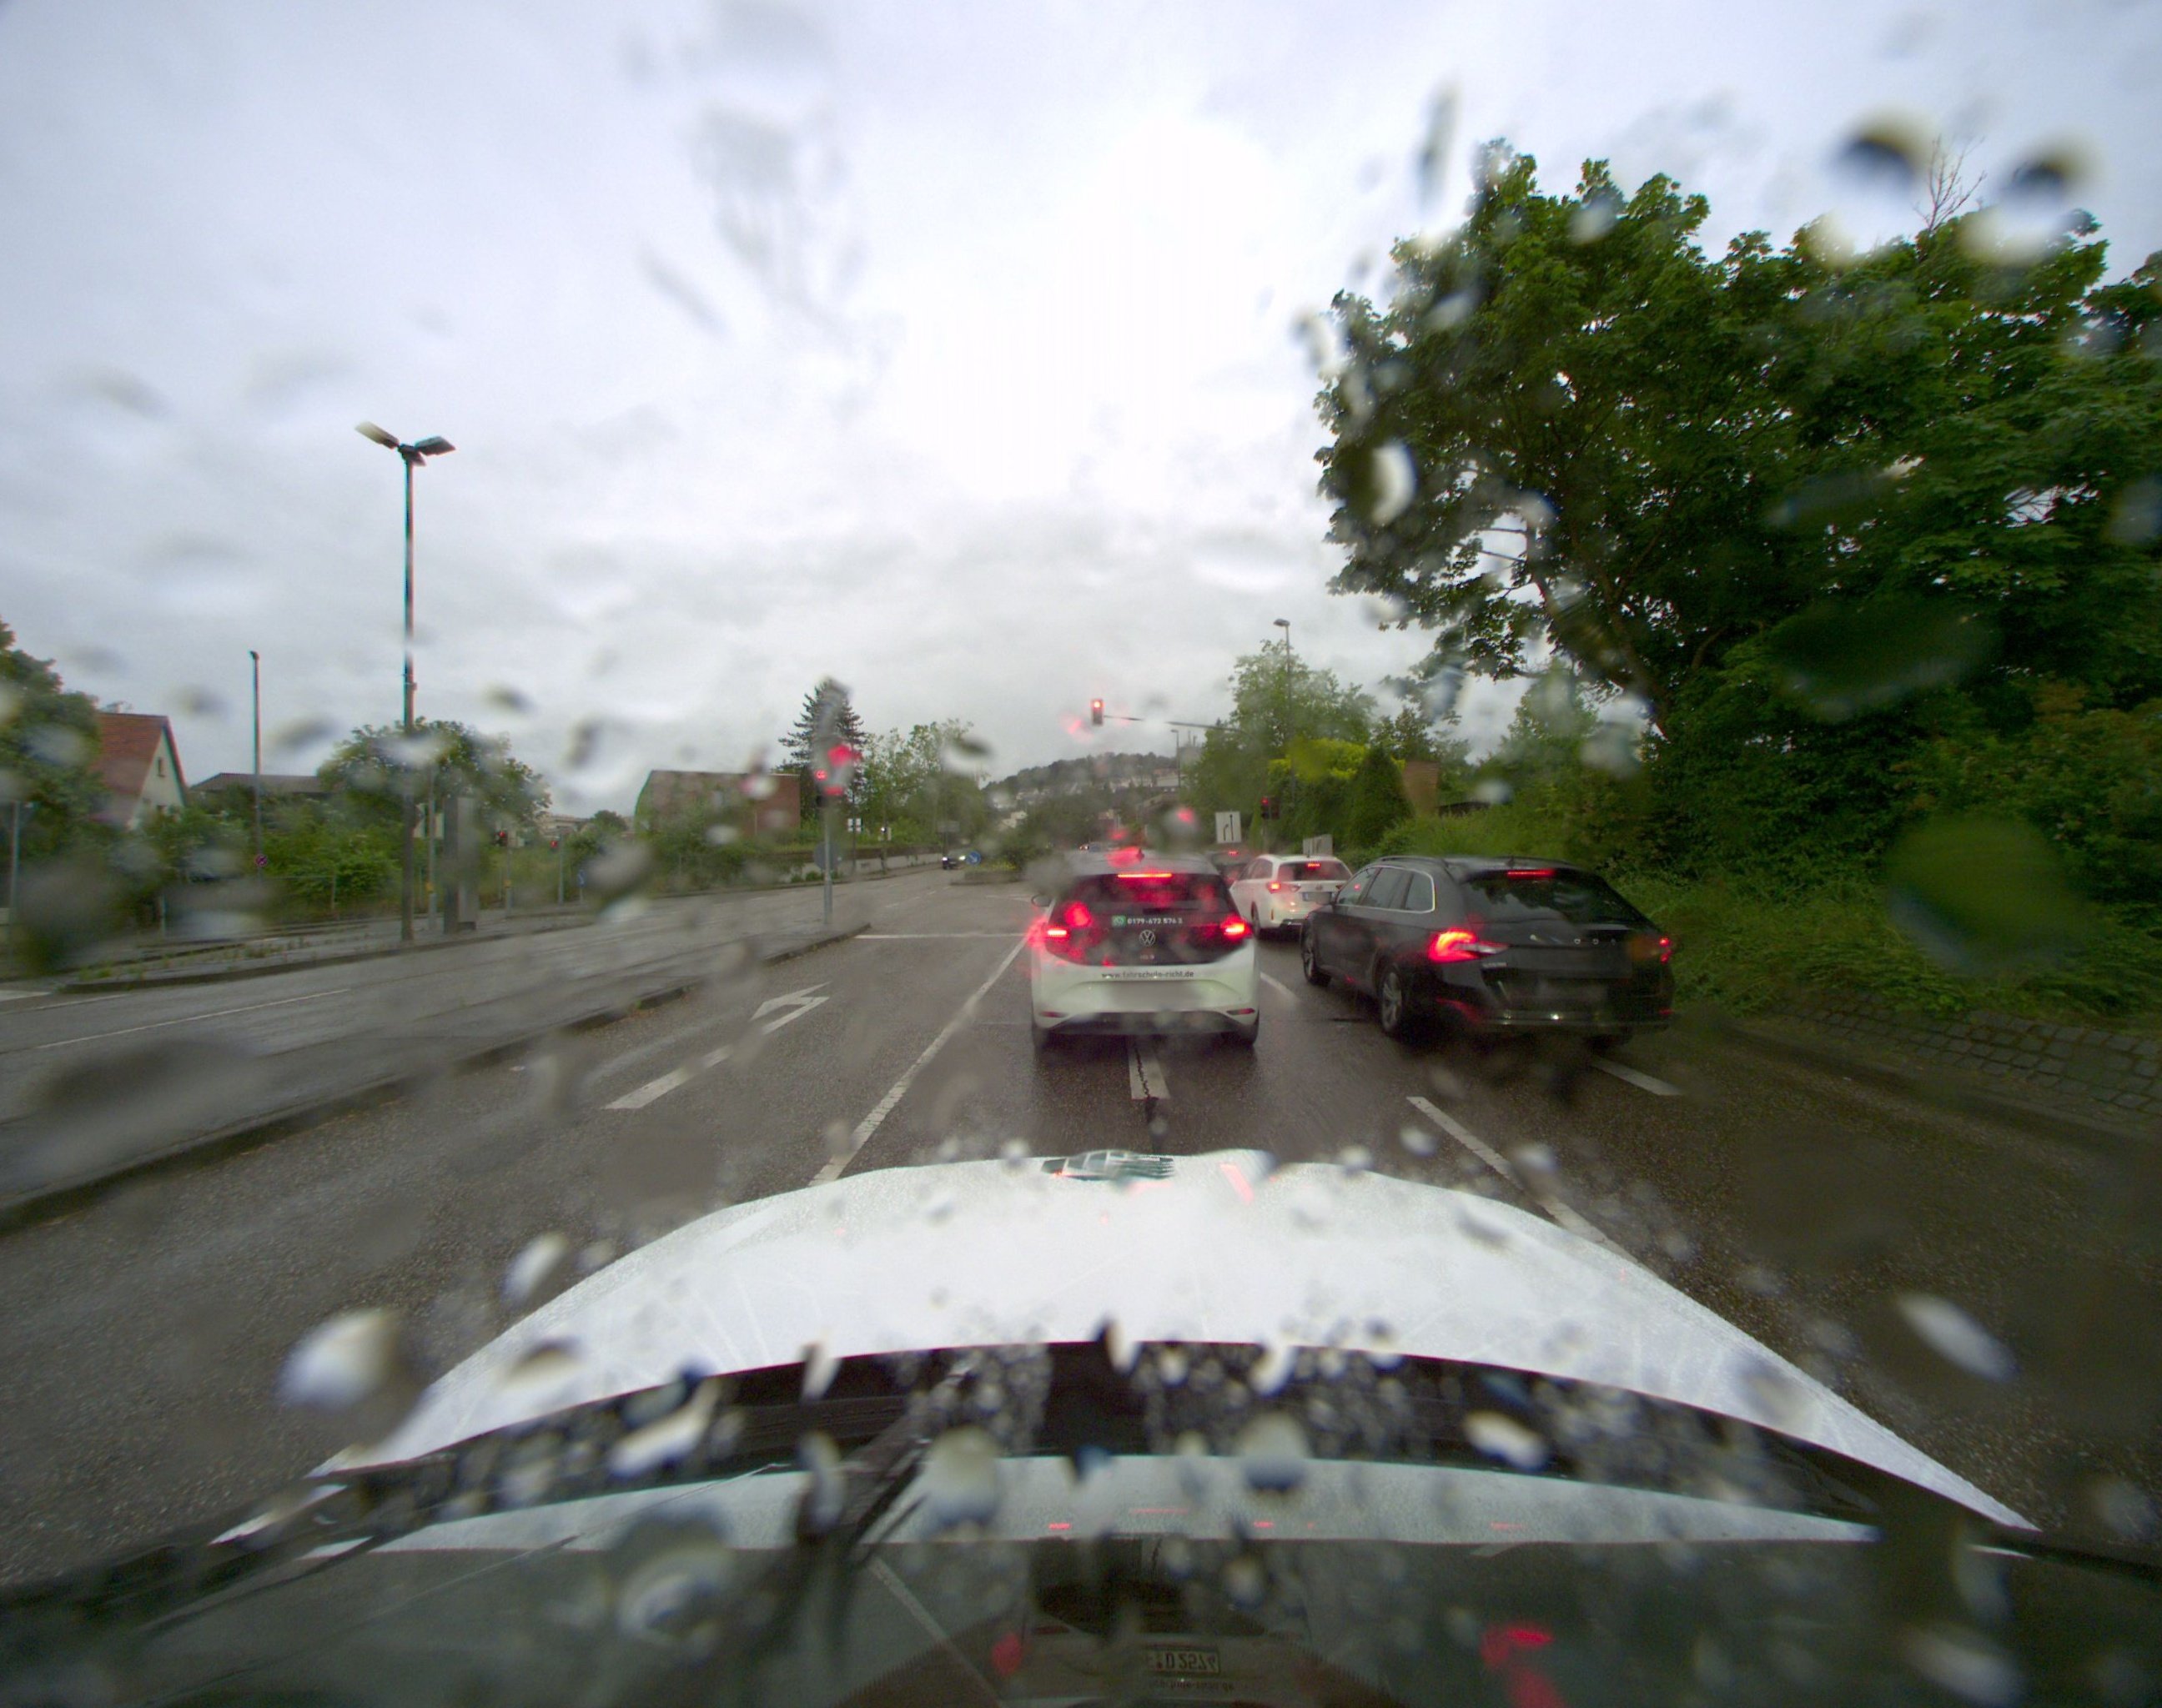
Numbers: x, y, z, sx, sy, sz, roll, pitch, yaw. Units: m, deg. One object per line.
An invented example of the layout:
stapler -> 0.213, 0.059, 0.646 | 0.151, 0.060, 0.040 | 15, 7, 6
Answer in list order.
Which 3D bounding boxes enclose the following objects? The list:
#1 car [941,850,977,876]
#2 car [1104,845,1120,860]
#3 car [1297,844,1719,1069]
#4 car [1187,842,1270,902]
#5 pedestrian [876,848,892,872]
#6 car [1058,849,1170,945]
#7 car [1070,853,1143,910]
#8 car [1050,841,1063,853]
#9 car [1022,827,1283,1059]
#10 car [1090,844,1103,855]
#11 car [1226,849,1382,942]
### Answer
car -> -9.451, 0.663, 63.475 | 1.986, 1.804, 4.002 | -4, 0, 2
car -> 3.231, -0.161, 85.459 | 1.575, 1.467, 4.000 | -3, -1, 1
car -> 3.367, 0.652, 7.514 | 1.830, 1.466, 4.353 | 0, 0, 3
car -> 4.132, 0.486, 23.353 | 1.769, 1.581, 4.002 | 0, 0, 2
pedestrian -> -13.277, 0.385, 54.921 | 0.757, 1.568, 0.825 | -4, 0, 1
car -> 0.588, 0.683, 15.351 | 1.831, 1.555, 4.176 | 0, 0, 1
car -> 0.678, 0.677, 22.125 | 1.831, 1.400, 3.832 | 0, 0, 1
car -> -4.237, -1.245, 140.800 | 1.986, 2.014, 4.002 | -1, -1, 2
car -> 0.555, 0.613, 8.029 | 1.831, 1.629, 4.617 | 0, 0, 1
car -> 2.250, -0.679, 119.092 | 1.755, 1.418, 3.748 | -3, 0, 0
car -> 3.892, 0.646, 14.947 | 1.831, 1.466, 4.118 | 0, 0, 1
